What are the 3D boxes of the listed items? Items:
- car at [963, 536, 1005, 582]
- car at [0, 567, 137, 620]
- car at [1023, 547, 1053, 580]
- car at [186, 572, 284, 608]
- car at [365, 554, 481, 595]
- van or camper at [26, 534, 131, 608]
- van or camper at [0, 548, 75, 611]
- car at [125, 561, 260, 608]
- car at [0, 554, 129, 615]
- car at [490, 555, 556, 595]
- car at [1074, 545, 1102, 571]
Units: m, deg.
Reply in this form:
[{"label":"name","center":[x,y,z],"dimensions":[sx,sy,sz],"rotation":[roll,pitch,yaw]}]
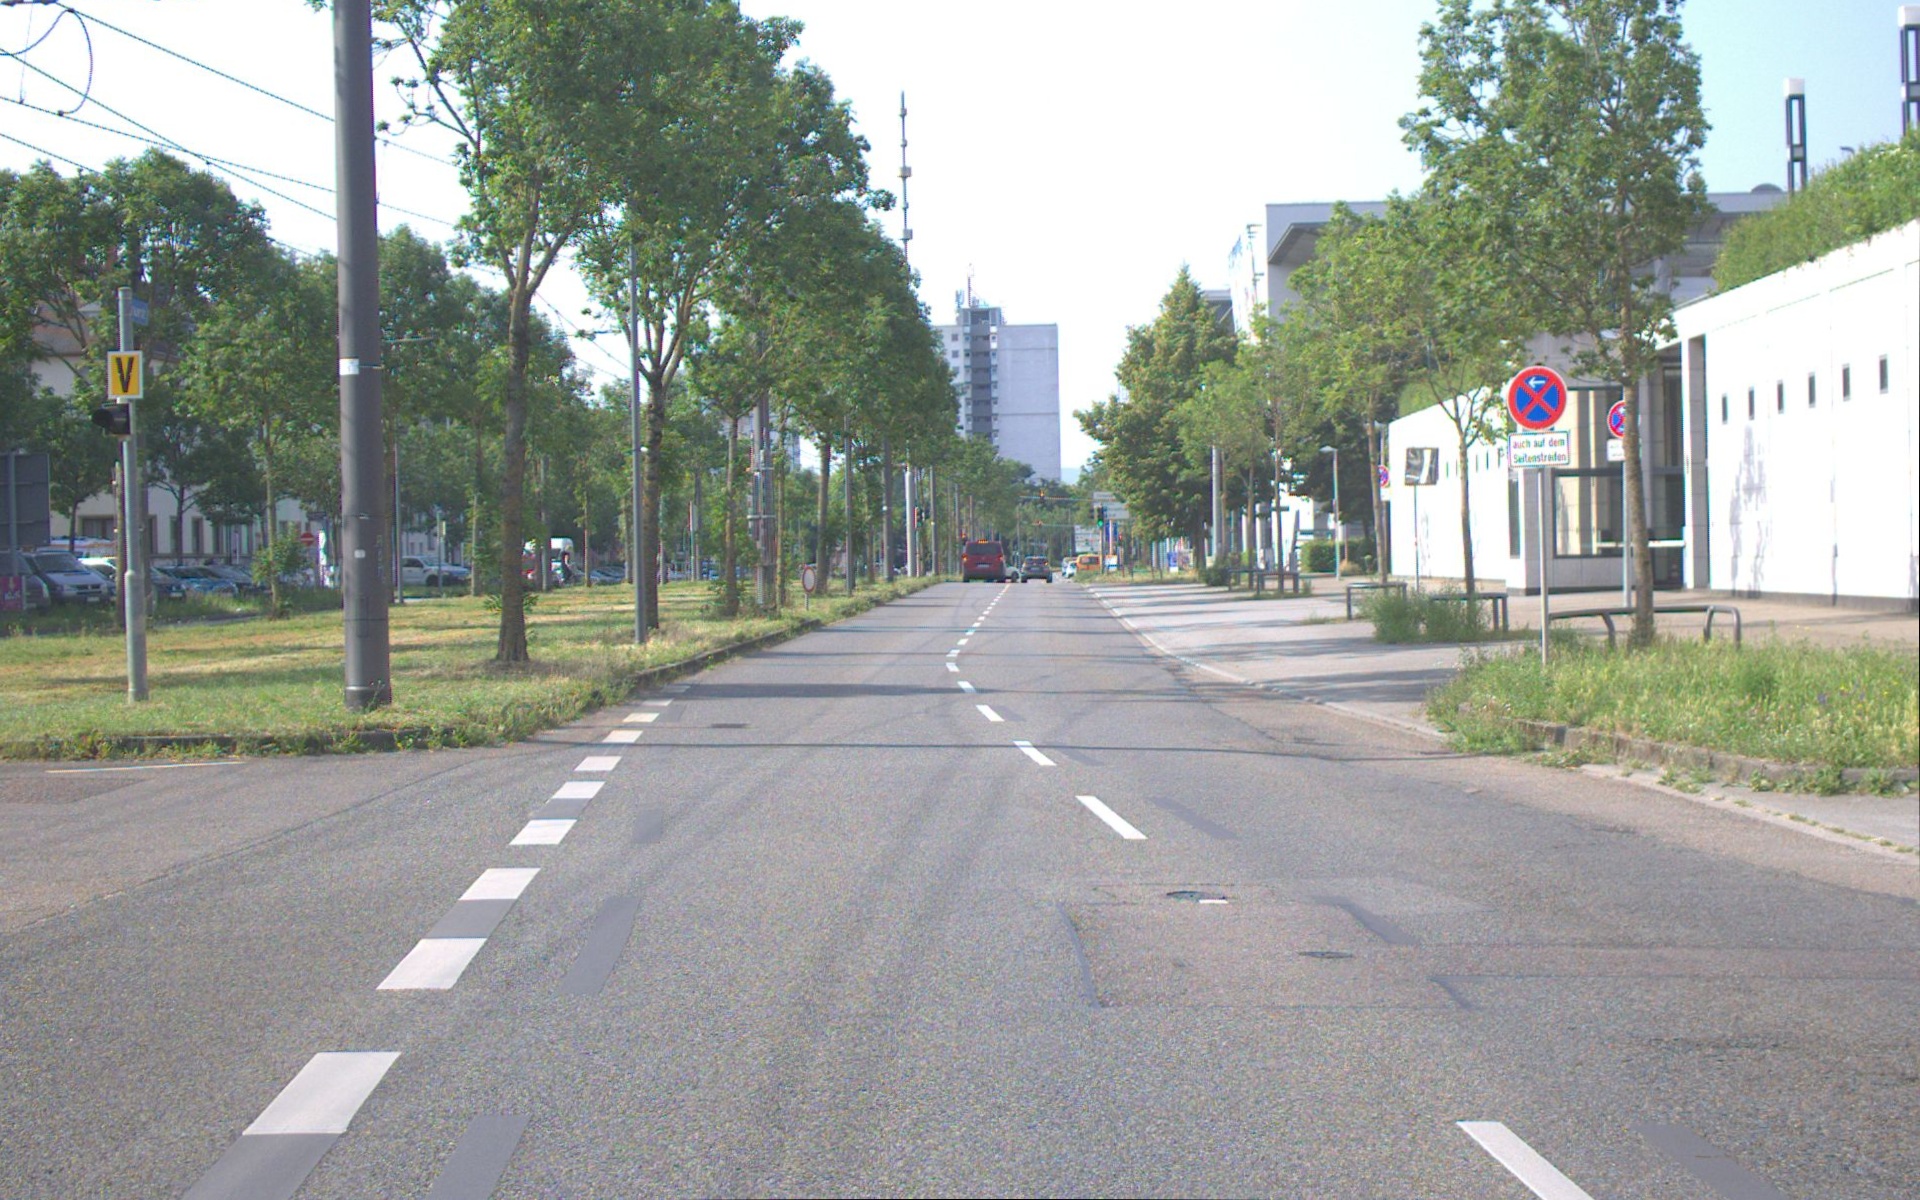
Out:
[{"label":"car","center":[1.077,-1.830,154.254],"dimensions":[1.748,2.007,3.215],"rotation":[1,0,2]},{"label":"car","center":[-25.693,-0.194,97.685],"dimensions":[4.471,1.414,1.971],"rotation":[1,0,34]},{"label":"car","center":[4.879,-2.286,214.289],"dimensions":[1.748,2.007,3.215],"rotation":[1,0,2]},{"label":"car","center":[-24.830,-0.360,117.664],"dimensions":[3.160,1.157,1.494],"rotation":[1,0,34]},{"label":"car","center":[-24.517,-1.165,156.770],"dimensions":[5.321,1.732,1.996],"rotation":[1,0,35]},{"label":"van or camper","center":[-31.832,-1.036,124.313],"dimensions":[2.039,2.558,6.357],"rotation":[1,0,1]},{"label":"van or camper","center":[-26.195,-0.585,92.304],"dimensions":[4.844,1.618,1.999],"rotation":[1,0,34]},{"label":"car","center":[-24.829,-0.507,111.257],"dimensions":[3.990,1.412,1.576],"rotation":[1,0,18]},{"label":"car","center":[-25.579,-0.450,94.874],"dimensions":[5.214,1.618,2.053],"rotation":[1,0,32]},{"label":"car","center":[-19.205,-1.102,151.158],"dimensions":[1.965,1.688,4.296],"rotation":[1,0,5]},{"label":"car","center":[8.135,-2.667,218.505],"dimensions":[1.748,1.645,3.215],"rotation":[1,0,2]}]
